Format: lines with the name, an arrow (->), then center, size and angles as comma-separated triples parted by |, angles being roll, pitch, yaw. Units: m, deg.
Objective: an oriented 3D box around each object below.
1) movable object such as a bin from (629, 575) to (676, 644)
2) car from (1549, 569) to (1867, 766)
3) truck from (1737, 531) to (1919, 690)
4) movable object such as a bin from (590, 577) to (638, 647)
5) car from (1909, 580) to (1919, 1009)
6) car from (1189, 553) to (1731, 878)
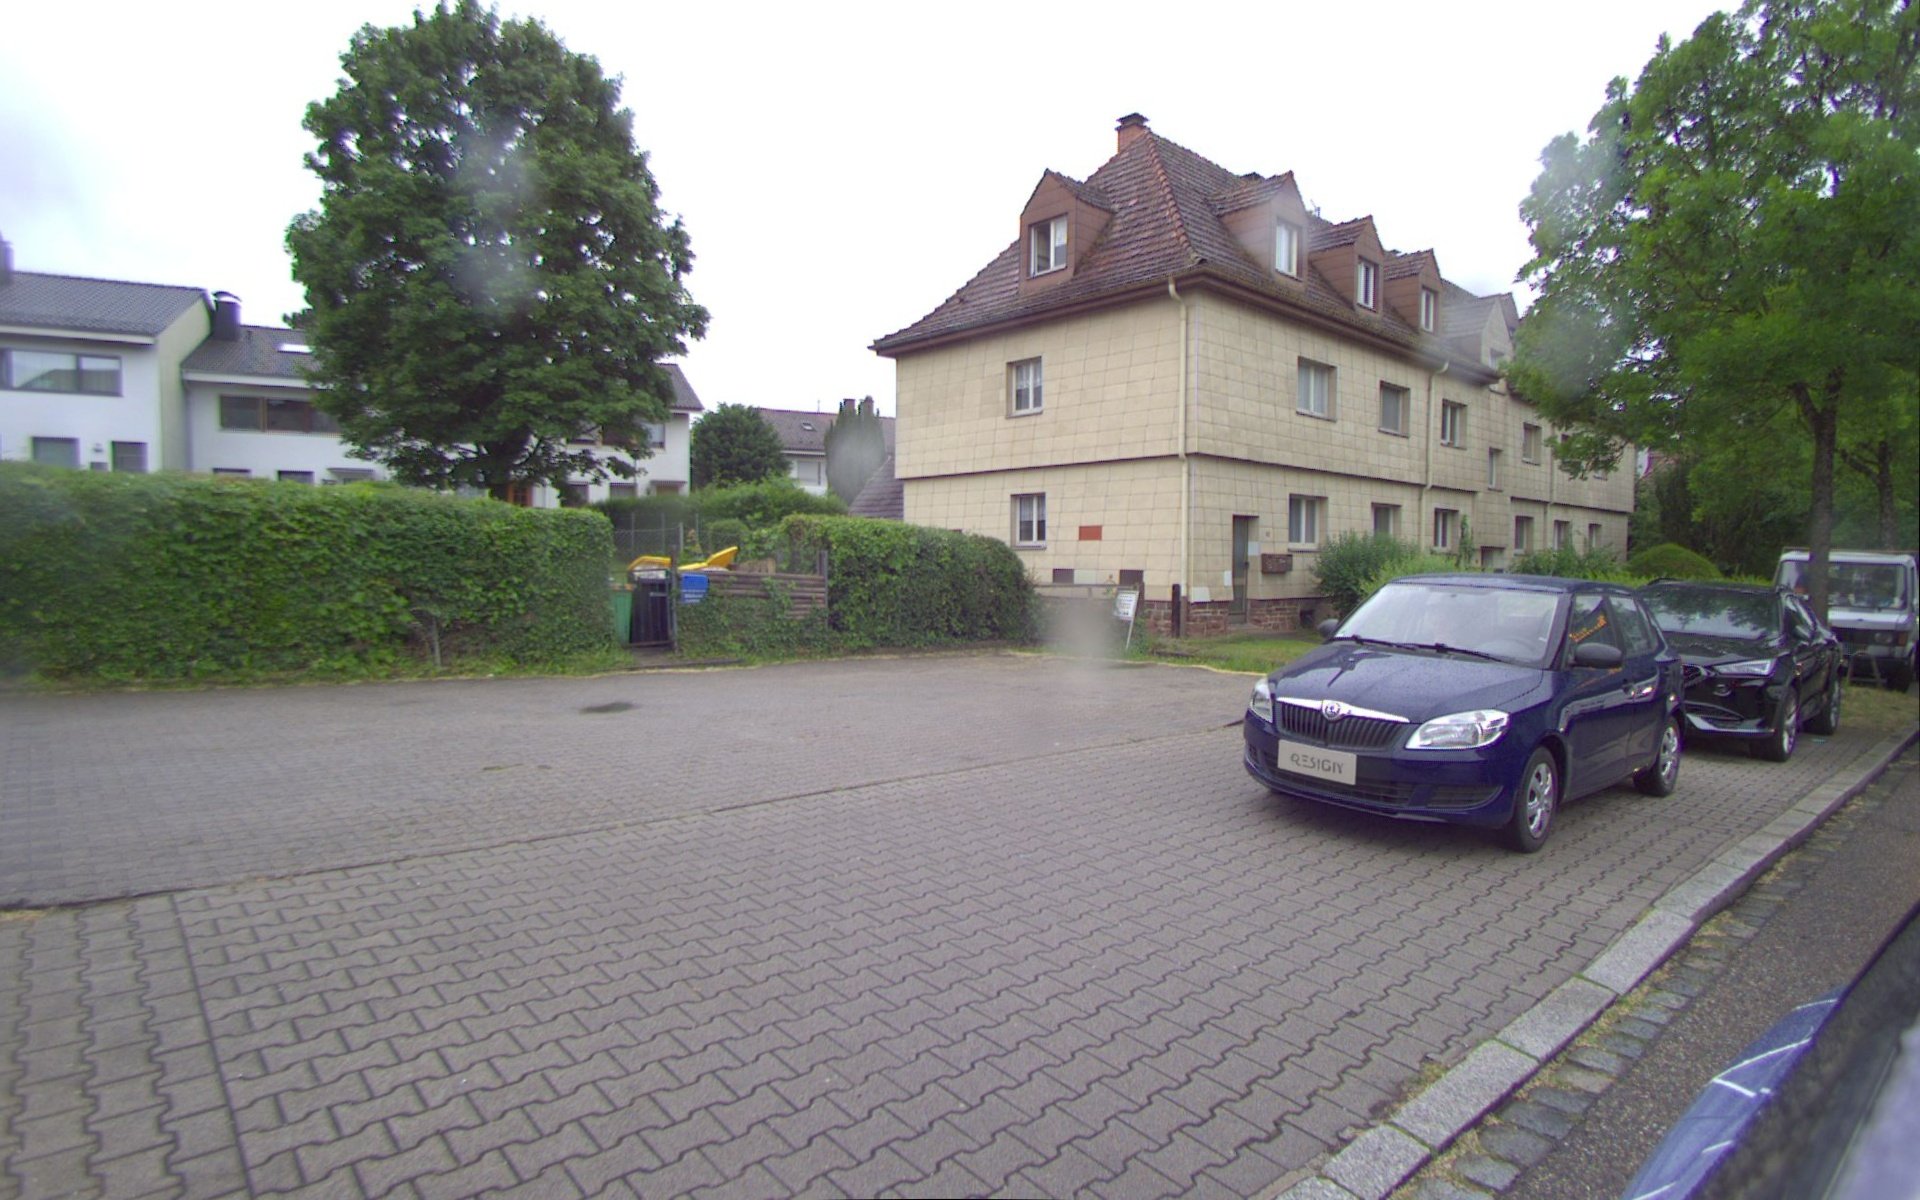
movable object such as a bin -> -4.399, 0.131, 14.458 | 0.441, 0.954, 0.539 | 0, 0, -45
car -> 7.431, 0.491, 9.919 | 3.932, 1.481, 1.719 | -1, 4, -42
truck -> 14.911, 0.111, 16.781 | 5.653, 2.224, 1.998 | 0, 2, -40
movable object such as a bin -> -4.830, 0.164, 14.112 | 0.441, 0.954, 0.539 | 0, 0, -45
car -> 5.622, 0.692, 4.297 | 4.240, 1.548, 1.881 | 0, -1, -41
car -> 3.412, 0.484, 6.579 | 3.930, 1.441, 1.719 | -1, 4, -41
